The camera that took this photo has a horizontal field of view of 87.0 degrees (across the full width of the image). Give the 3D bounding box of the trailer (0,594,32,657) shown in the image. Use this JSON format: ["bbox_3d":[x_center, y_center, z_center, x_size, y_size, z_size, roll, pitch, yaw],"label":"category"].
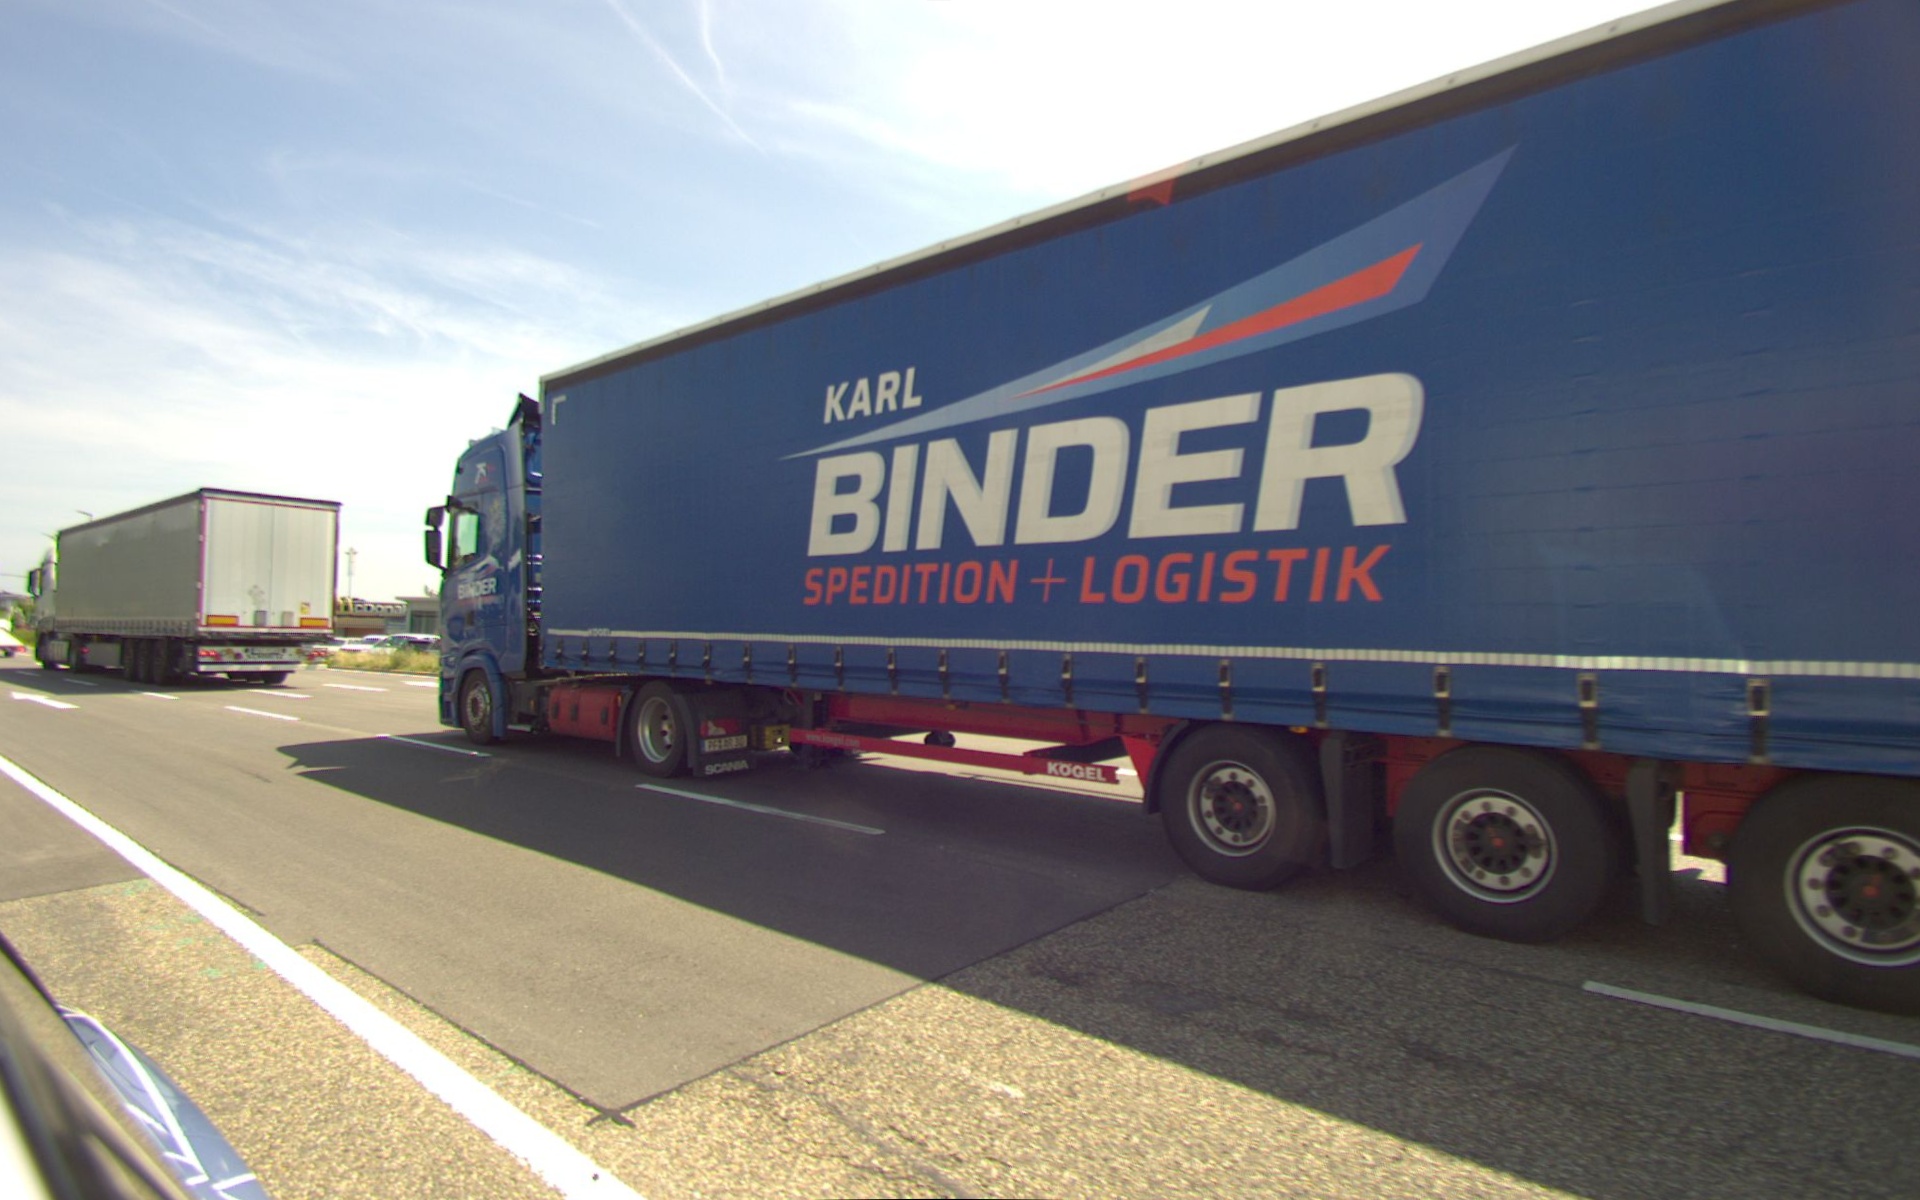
[{"bbox_3d":[-39.176,0.946,40.279,6.892,2.356,2.403,0,-4,41],"label":"trailer"}]

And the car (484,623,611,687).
[{"bbox_3d":[-11.942,1.568,29.558,1.778,1.699,3.860,1,-2,7],"label":"car"}]

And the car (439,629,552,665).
[{"bbox_3d":[-22.496,2.258,49.114,4.615,1.586,1.822,1,-2,1],"label":"car"}]

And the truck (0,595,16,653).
[{"bbox_3d":[-41.949,0.963,42.681,5.671,2.358,2.400,-1,-4,41],"label":"truck"}]

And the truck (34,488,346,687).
[{"bbox_3d":[-20.651,-0.249,26.299,16.467,3.918,2.762,0,-1,40],"label":"truck"}]

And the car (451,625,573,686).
[{"bbox_3d":[-13.982,1.708,31.866,1.778,1.763,3.860,1,-2,7],"label":"car"}]

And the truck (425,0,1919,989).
[{"bbox_3d":[0.692,-0.577,7.887,16.999,3.918,2.814,0,-1,42],"label":"truck"}]
